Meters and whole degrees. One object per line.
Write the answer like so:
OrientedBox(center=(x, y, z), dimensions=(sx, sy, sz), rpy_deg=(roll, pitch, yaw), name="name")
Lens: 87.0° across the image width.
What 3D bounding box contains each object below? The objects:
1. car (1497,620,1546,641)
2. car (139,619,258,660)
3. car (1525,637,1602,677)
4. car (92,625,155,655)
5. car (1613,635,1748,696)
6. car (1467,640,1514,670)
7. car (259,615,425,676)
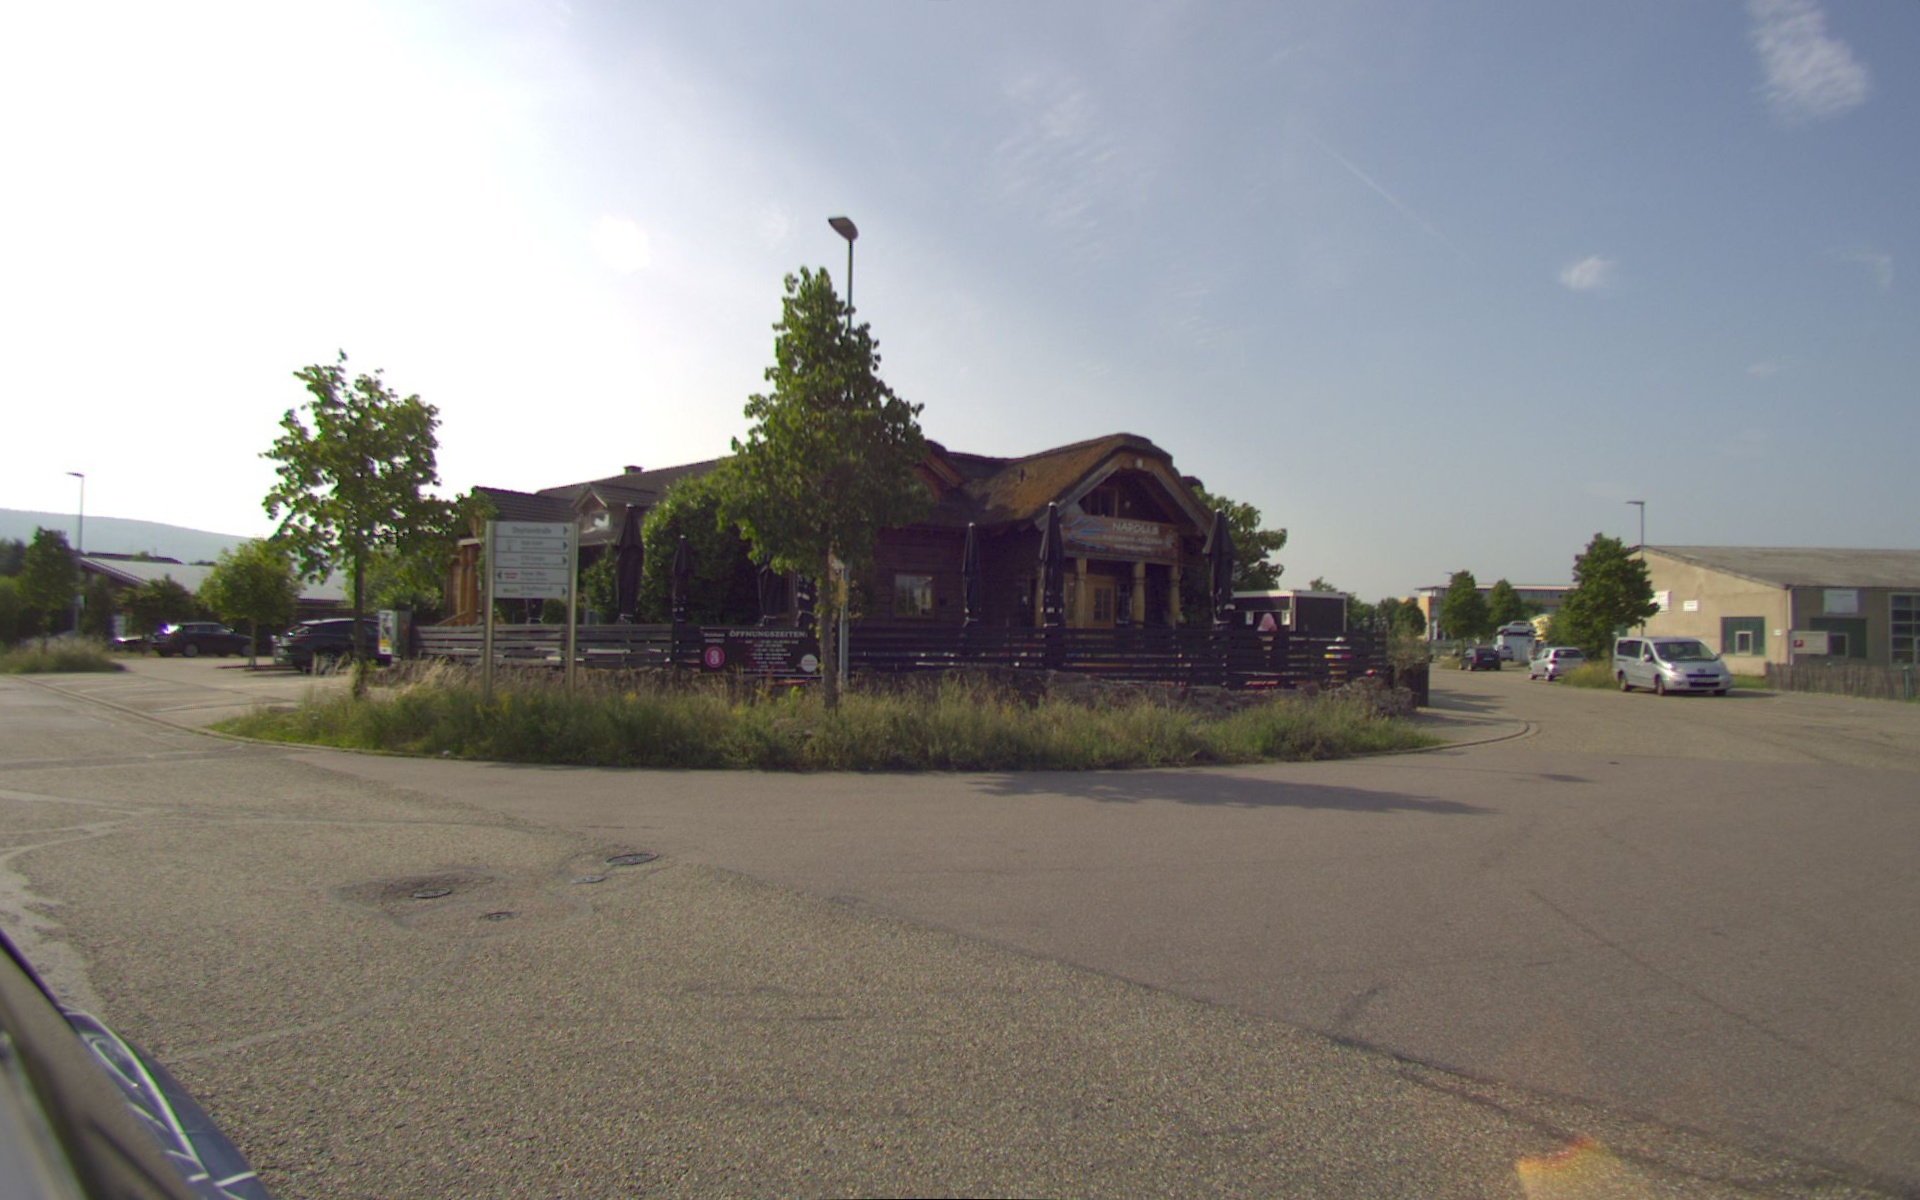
OrientedBox(center=(57.295, 3.106, 103.316), dimensions=(3.963, 2.029, 1.990), rpy_deg=(-1, 0, 16), name="car")
OrientedBox(center=(-35.341, 1.817, 47.070), dimensions=(1.985, 1.807, 3.973), rpy_deg=(0, -2, 20), name="car")
OrientedBox(center=(27.488, 2.558, 46.224), dimensions=(1.982, 1.741, 3.980), rpy_deg=(0, -2, 15), name="car")
OrientedBox(center=(-43.484, 2.063, 52.593), dimensions=(3.542, 1.492, 1.596), rpy_deg=(-1, -2, 35), name="car")
OrientedBox(center=(23.608, 2.082, 33.412), dimensions=(2.005, 1.838, 4.863), rpy_deg=(0, -2, 15), name="car")
OrientedBox(center=(32.542, 3.355, 62.164), dimensions=(1.985, 1.741, 3.973), rpy_deg=(0, -2, 20), name="car")
OrientedBox(center=(-18.974, 1.375, 31.168), dimensions=(2.000, 1.741, 3.944), rpy_deg=(-1, -3, 42), name="car")
